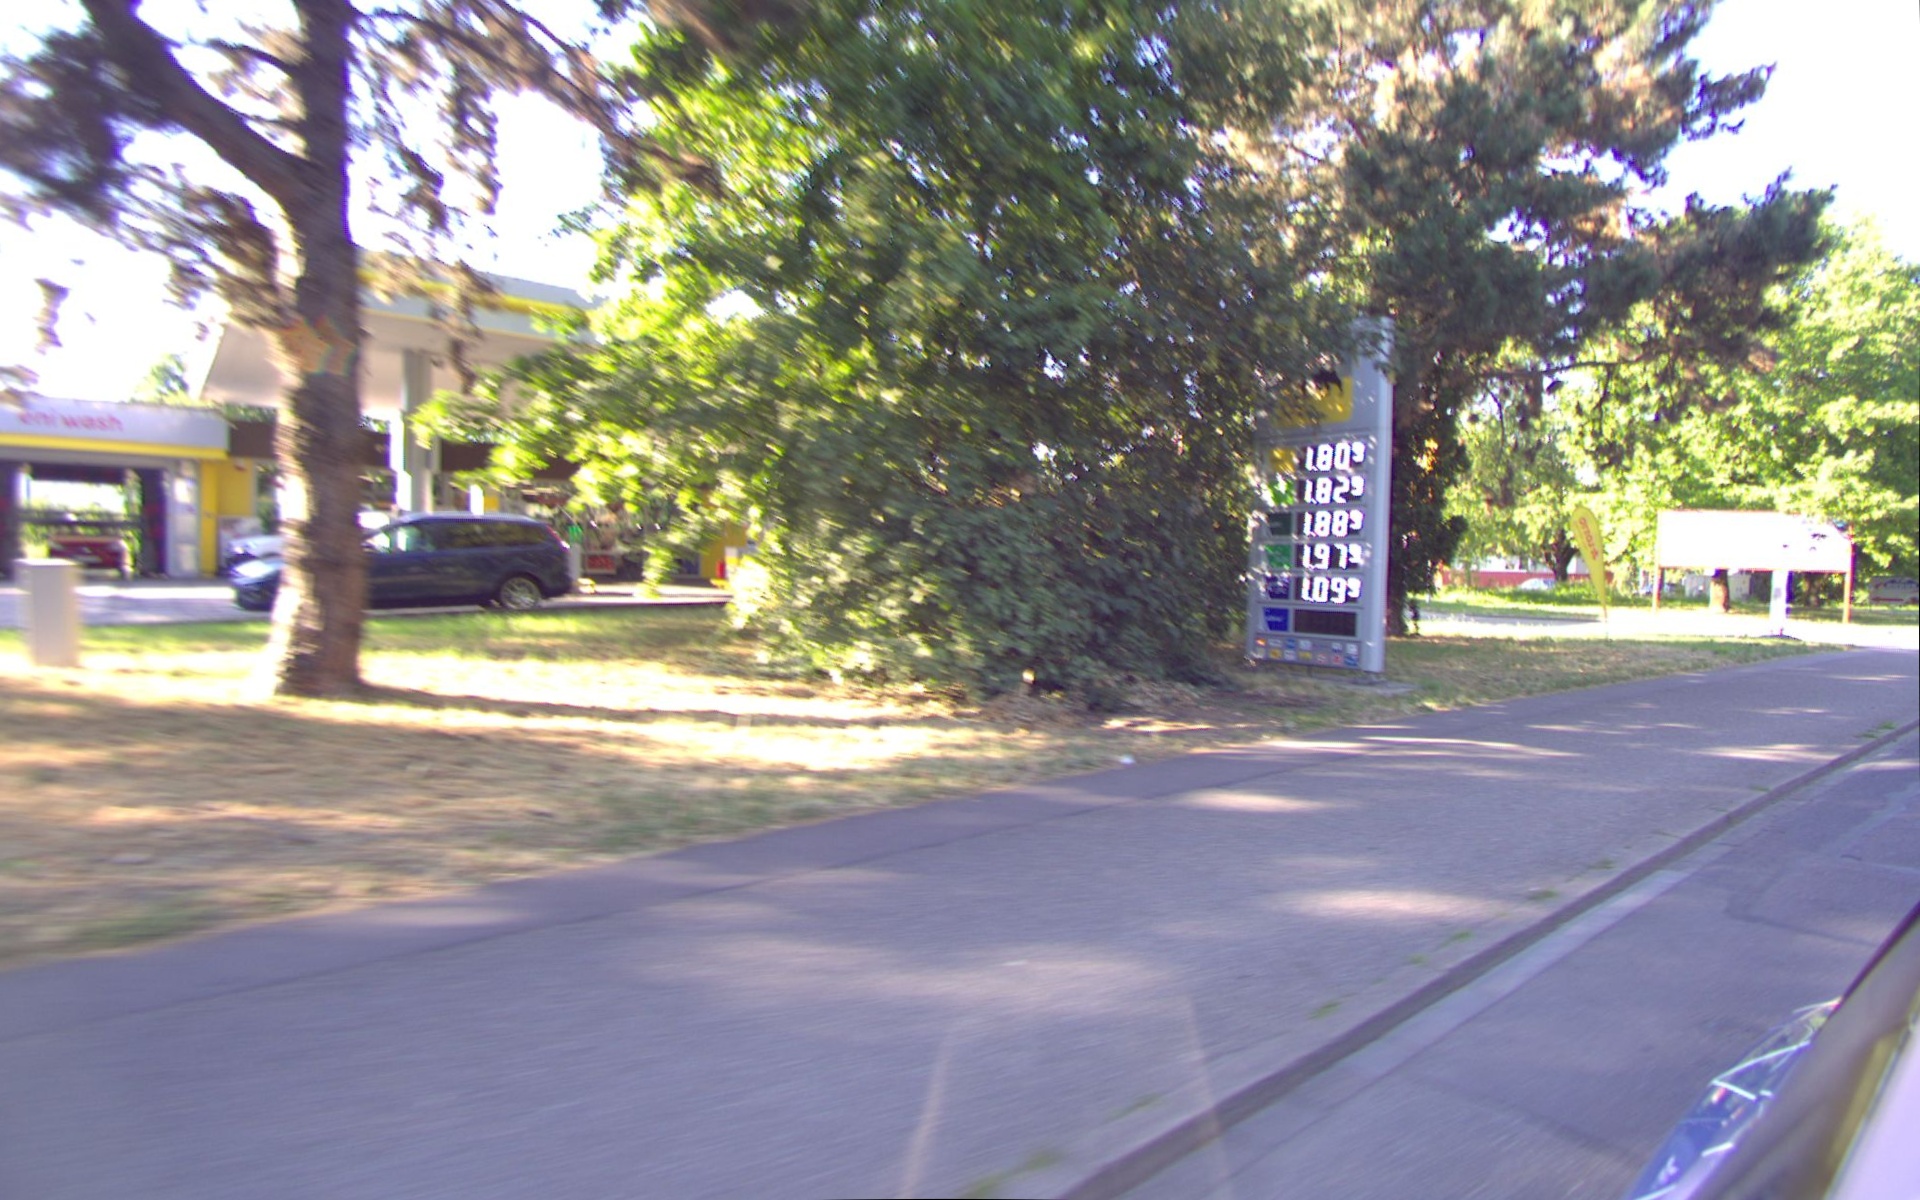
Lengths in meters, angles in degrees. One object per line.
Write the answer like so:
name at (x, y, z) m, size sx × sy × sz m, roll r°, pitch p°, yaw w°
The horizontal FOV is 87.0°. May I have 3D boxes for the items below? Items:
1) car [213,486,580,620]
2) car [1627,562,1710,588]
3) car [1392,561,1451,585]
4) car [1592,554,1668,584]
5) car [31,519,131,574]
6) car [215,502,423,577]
car at (-8.104, -0.676, 14.779) m, size 4.397 × 1.667 × 1.928 m, roll -1°, pitch 3°, yaw -41°
car at (45.160, -1.599, 64.663) m, size 1.961 × 1.613 × 4.450 m, roll 0°, pitch 2°, yaw -4°
car at (29.647, -1.696, 65.142) m, size 1.754 × 1.494 × 4.198 m, roll 0°, pitch 1°, yaw -2°
car at (42.805, -2.019, 64.774) m, size 1.673 × 1.840 × 4.451 m, roll 1°, pitch 3°, yaw -4°
car at (-23.657, -1.459, 27.358) m, size 1.853 × 1.389 × 3.998 m, roll -1°, pitch 4°, yaw -39°
car at (-16.187, -1.487, 25.665) m, size 4.319 × 1.749 × 1.818 m, roll -1°, pitch 4°, yaw -38°
